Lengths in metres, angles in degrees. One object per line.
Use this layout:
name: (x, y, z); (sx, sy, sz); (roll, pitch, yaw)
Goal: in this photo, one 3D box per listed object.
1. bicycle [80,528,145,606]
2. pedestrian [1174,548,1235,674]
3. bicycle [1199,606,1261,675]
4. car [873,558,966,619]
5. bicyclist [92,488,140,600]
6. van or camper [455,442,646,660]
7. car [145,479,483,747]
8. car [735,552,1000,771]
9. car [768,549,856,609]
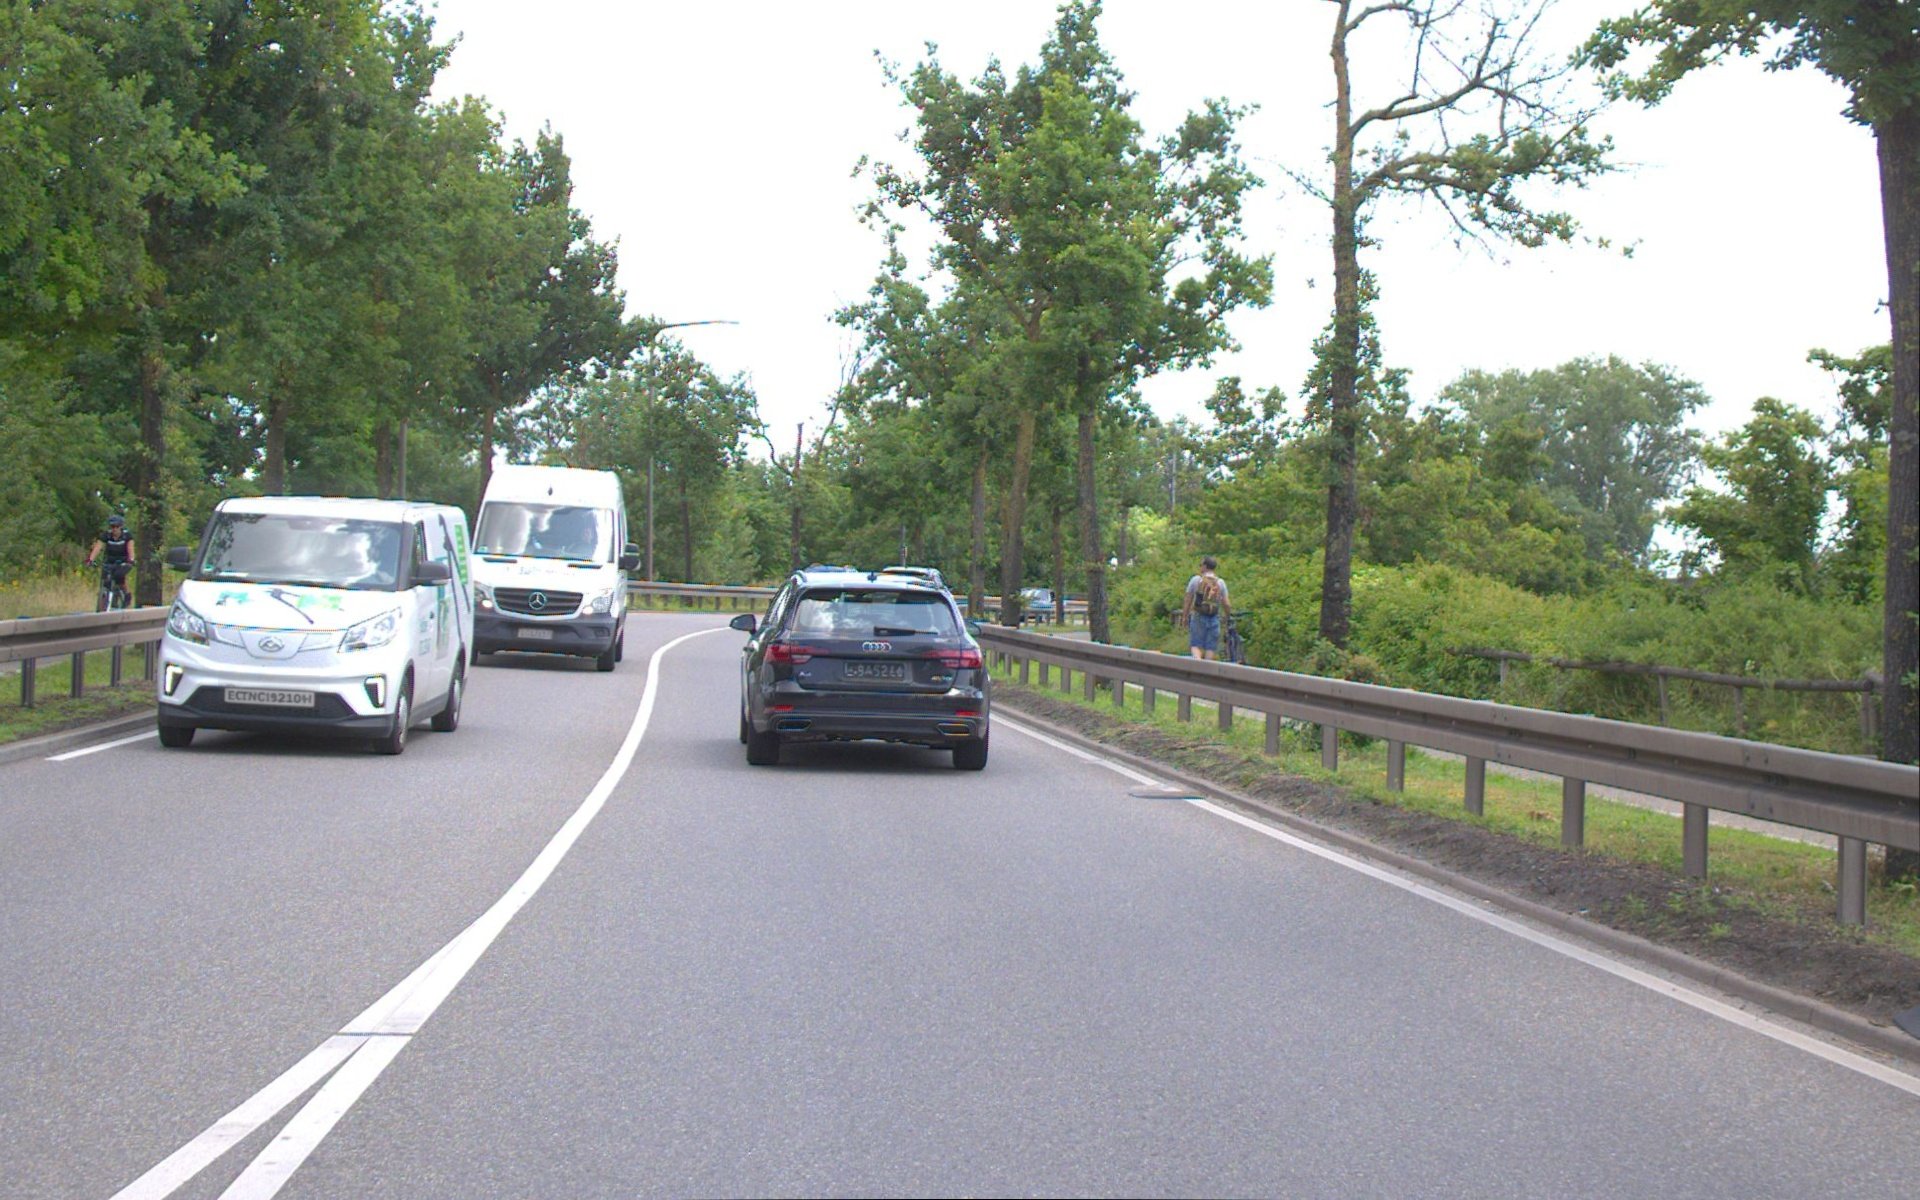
bicycle: (-11.814, -0.457, 47.947); (0.556, 1.059, 1.754); (1, 0, -4)
pedestrian: (3.243, 0.141, 45.677); (0.657, 1.636, 1.055); (1, 0, -4)
bicycle: (3.576, 0.528, 45.703); (0.556, 0.866, 1.826); (1, 1, -4)
car: (-1.047, -0.318, 90.449); (1.579, 1.515, 3.998); (2, 1, 12)
bicyclist: (-11.818, -0.778, 48.144); (0.484, 1.547, 0.880); (1, 0, -4)
van or camper: (-5.318, -0.646, 45.310); (1.993, 2.573, 5.982); (3, 1, -3)
car: (-4.907, 0.054, 26.814); (1.775, 1.860, 5.267); (1, 1, -2)
car: (-0.782, 0.407, 26.376); (1.827, 1.486, 4.207); (2, 1, -4)
car: (-4.255, -0.611, 99.552); (1.781, 1.601, 4.157); (3, 1, 7)
